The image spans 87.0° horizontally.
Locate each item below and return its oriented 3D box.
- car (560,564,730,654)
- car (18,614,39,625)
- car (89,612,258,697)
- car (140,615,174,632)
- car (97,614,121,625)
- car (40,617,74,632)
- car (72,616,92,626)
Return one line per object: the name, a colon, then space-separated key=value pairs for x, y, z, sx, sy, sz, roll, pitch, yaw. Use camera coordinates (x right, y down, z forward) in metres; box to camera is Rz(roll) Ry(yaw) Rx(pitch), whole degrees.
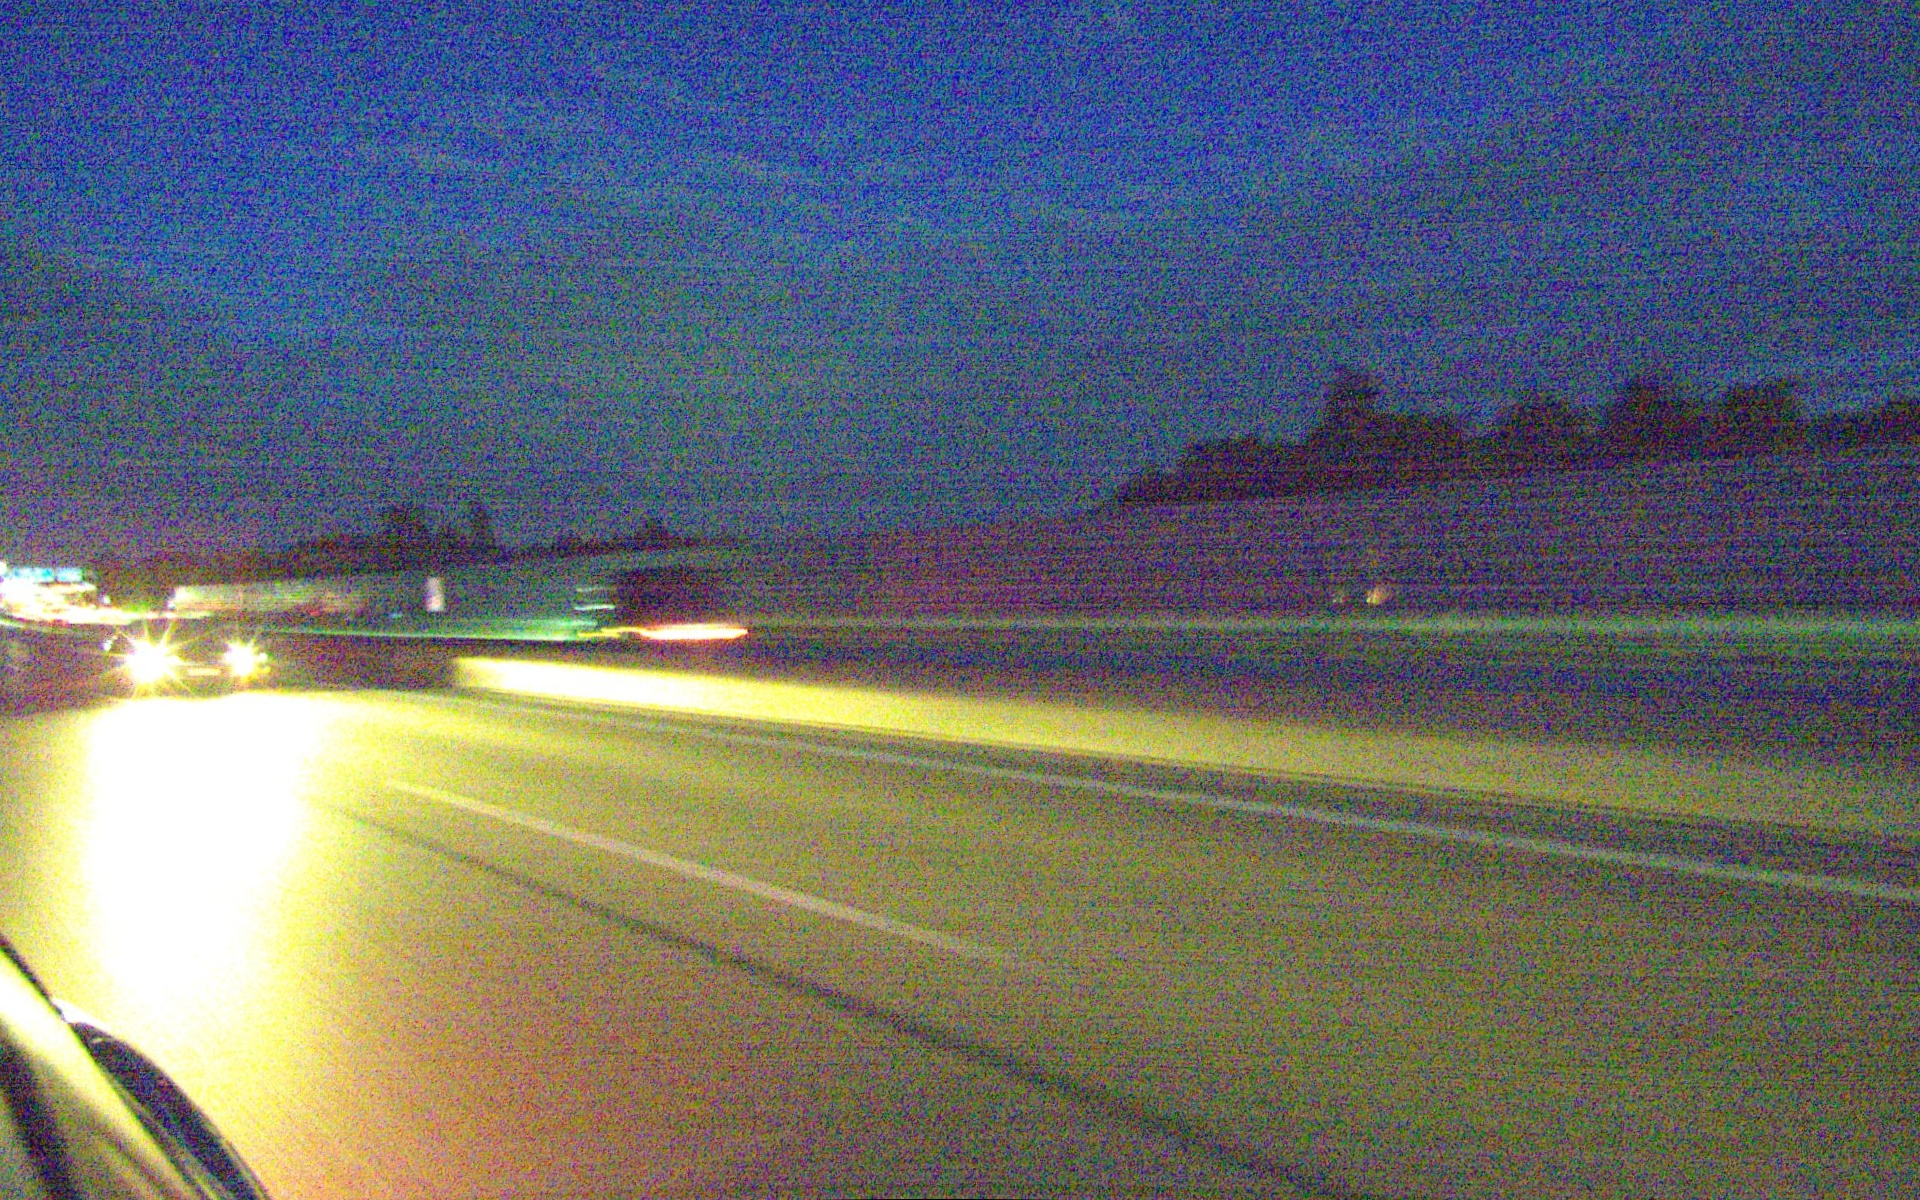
car: x=-12.209 y=0.427 z=38.702 sx=8.217 sy=3.109 sz=2.622 roll=-2 pitch=-1 yaw=44
car: x=-143.738 y=3.030 z=156.180 sx=5.110 sy=1.567 sz=2.095 roll=-1 pitch=0 yaw=43
car: x=-16.678 y=1.133 z=21.337 sx=5.651 sy=1.530 sz=1.972 roll=-4 pitch=-2 yaw=43
car: x=-86.917 y=2.526 z=109.496 sx=5.942 sy=1.795 sz=2.031 roll=-1 pitch=0 yaw=43
car: x=-124.062 y=2.807 z=147.496 sx=5.110 sy=1.567 sz=2.095 roll=-1 pitch=0 yaw=43
car: x=-104.531 y=2.846 z=117.082 sx=5.110 sy=1.567 sz=2.531 roll=-1 pitch=0 yaw=43
car: x=-149.386 y=3.580 z=172.138 sx=5.243 sy=1.492 sz=2.159 roll=-1 pitch=0 yaw=44
